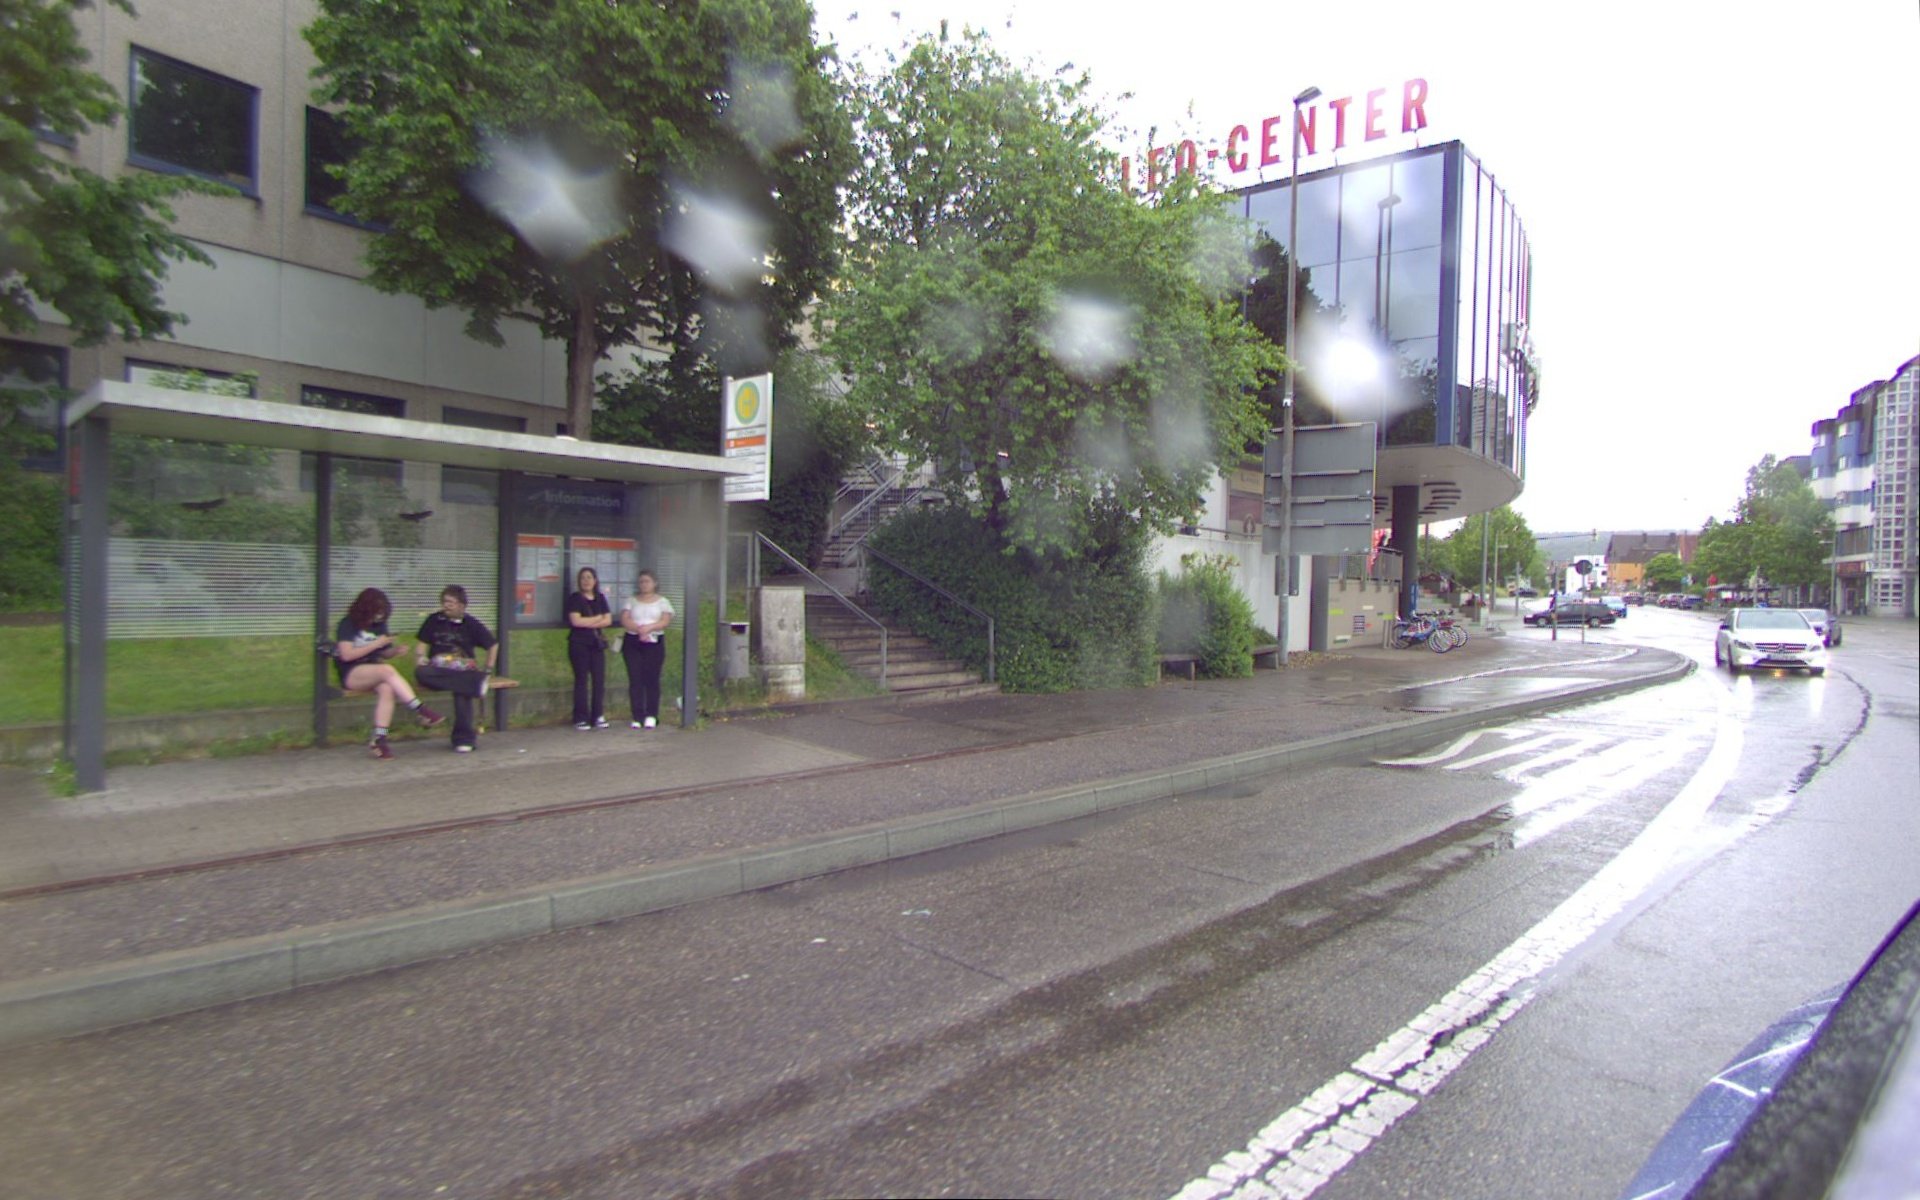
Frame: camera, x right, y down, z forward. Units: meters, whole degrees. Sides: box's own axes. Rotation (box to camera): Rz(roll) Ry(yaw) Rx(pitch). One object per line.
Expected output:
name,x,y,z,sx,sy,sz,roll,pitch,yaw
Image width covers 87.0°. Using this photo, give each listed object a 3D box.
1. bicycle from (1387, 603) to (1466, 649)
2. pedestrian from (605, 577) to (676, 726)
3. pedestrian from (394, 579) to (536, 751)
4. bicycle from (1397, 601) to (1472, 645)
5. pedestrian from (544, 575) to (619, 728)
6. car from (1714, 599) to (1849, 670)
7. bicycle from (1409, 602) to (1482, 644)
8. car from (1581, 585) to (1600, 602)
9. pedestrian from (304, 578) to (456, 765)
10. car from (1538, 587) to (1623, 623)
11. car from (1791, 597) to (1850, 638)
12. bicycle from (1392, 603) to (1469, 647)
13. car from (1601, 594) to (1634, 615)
bicycle,12.805,0.693,27.806,1.808,1.124,0.684,4,2,40
pedestrian,-3.074,0.486,9.765,0.532,1.382,0.412,3,2,-6
pedestrian,-4.185,0.505,8.541,1.028,1.297,0.682,4,2,40
bicycle,13.636,0.651,29.129,1.808,1.124,0.684,4,2,40
pedestrian,-3.556,0.469,9.521,0.532,1.382,0.412,3,2,-7
car,20.077,0.785,24.914,1.747,1.569,4.284,1,0,28
bicycle,14.543,0.680,30.339,1.828,1.124,0.684,4,3,40
car,62.631,-0.643,100.548,1.572,1.660,3.600,1,1,31
pedestrian,-4.510,0.508,7.854,1.028,1.297,0.682,4,2,40
car,36.434,0.267,59.540,4.153,2.039,1.779,1,0,28
car,34.359,0.676,40.378,1.628,1.509,3.779,1,0,43
bicycle,13.191,0.680,28.387,1.799,1.098,0.675,4,2,40
car,49.146,0.326,75.736,1.886,1.545,3.956,1,1,31
